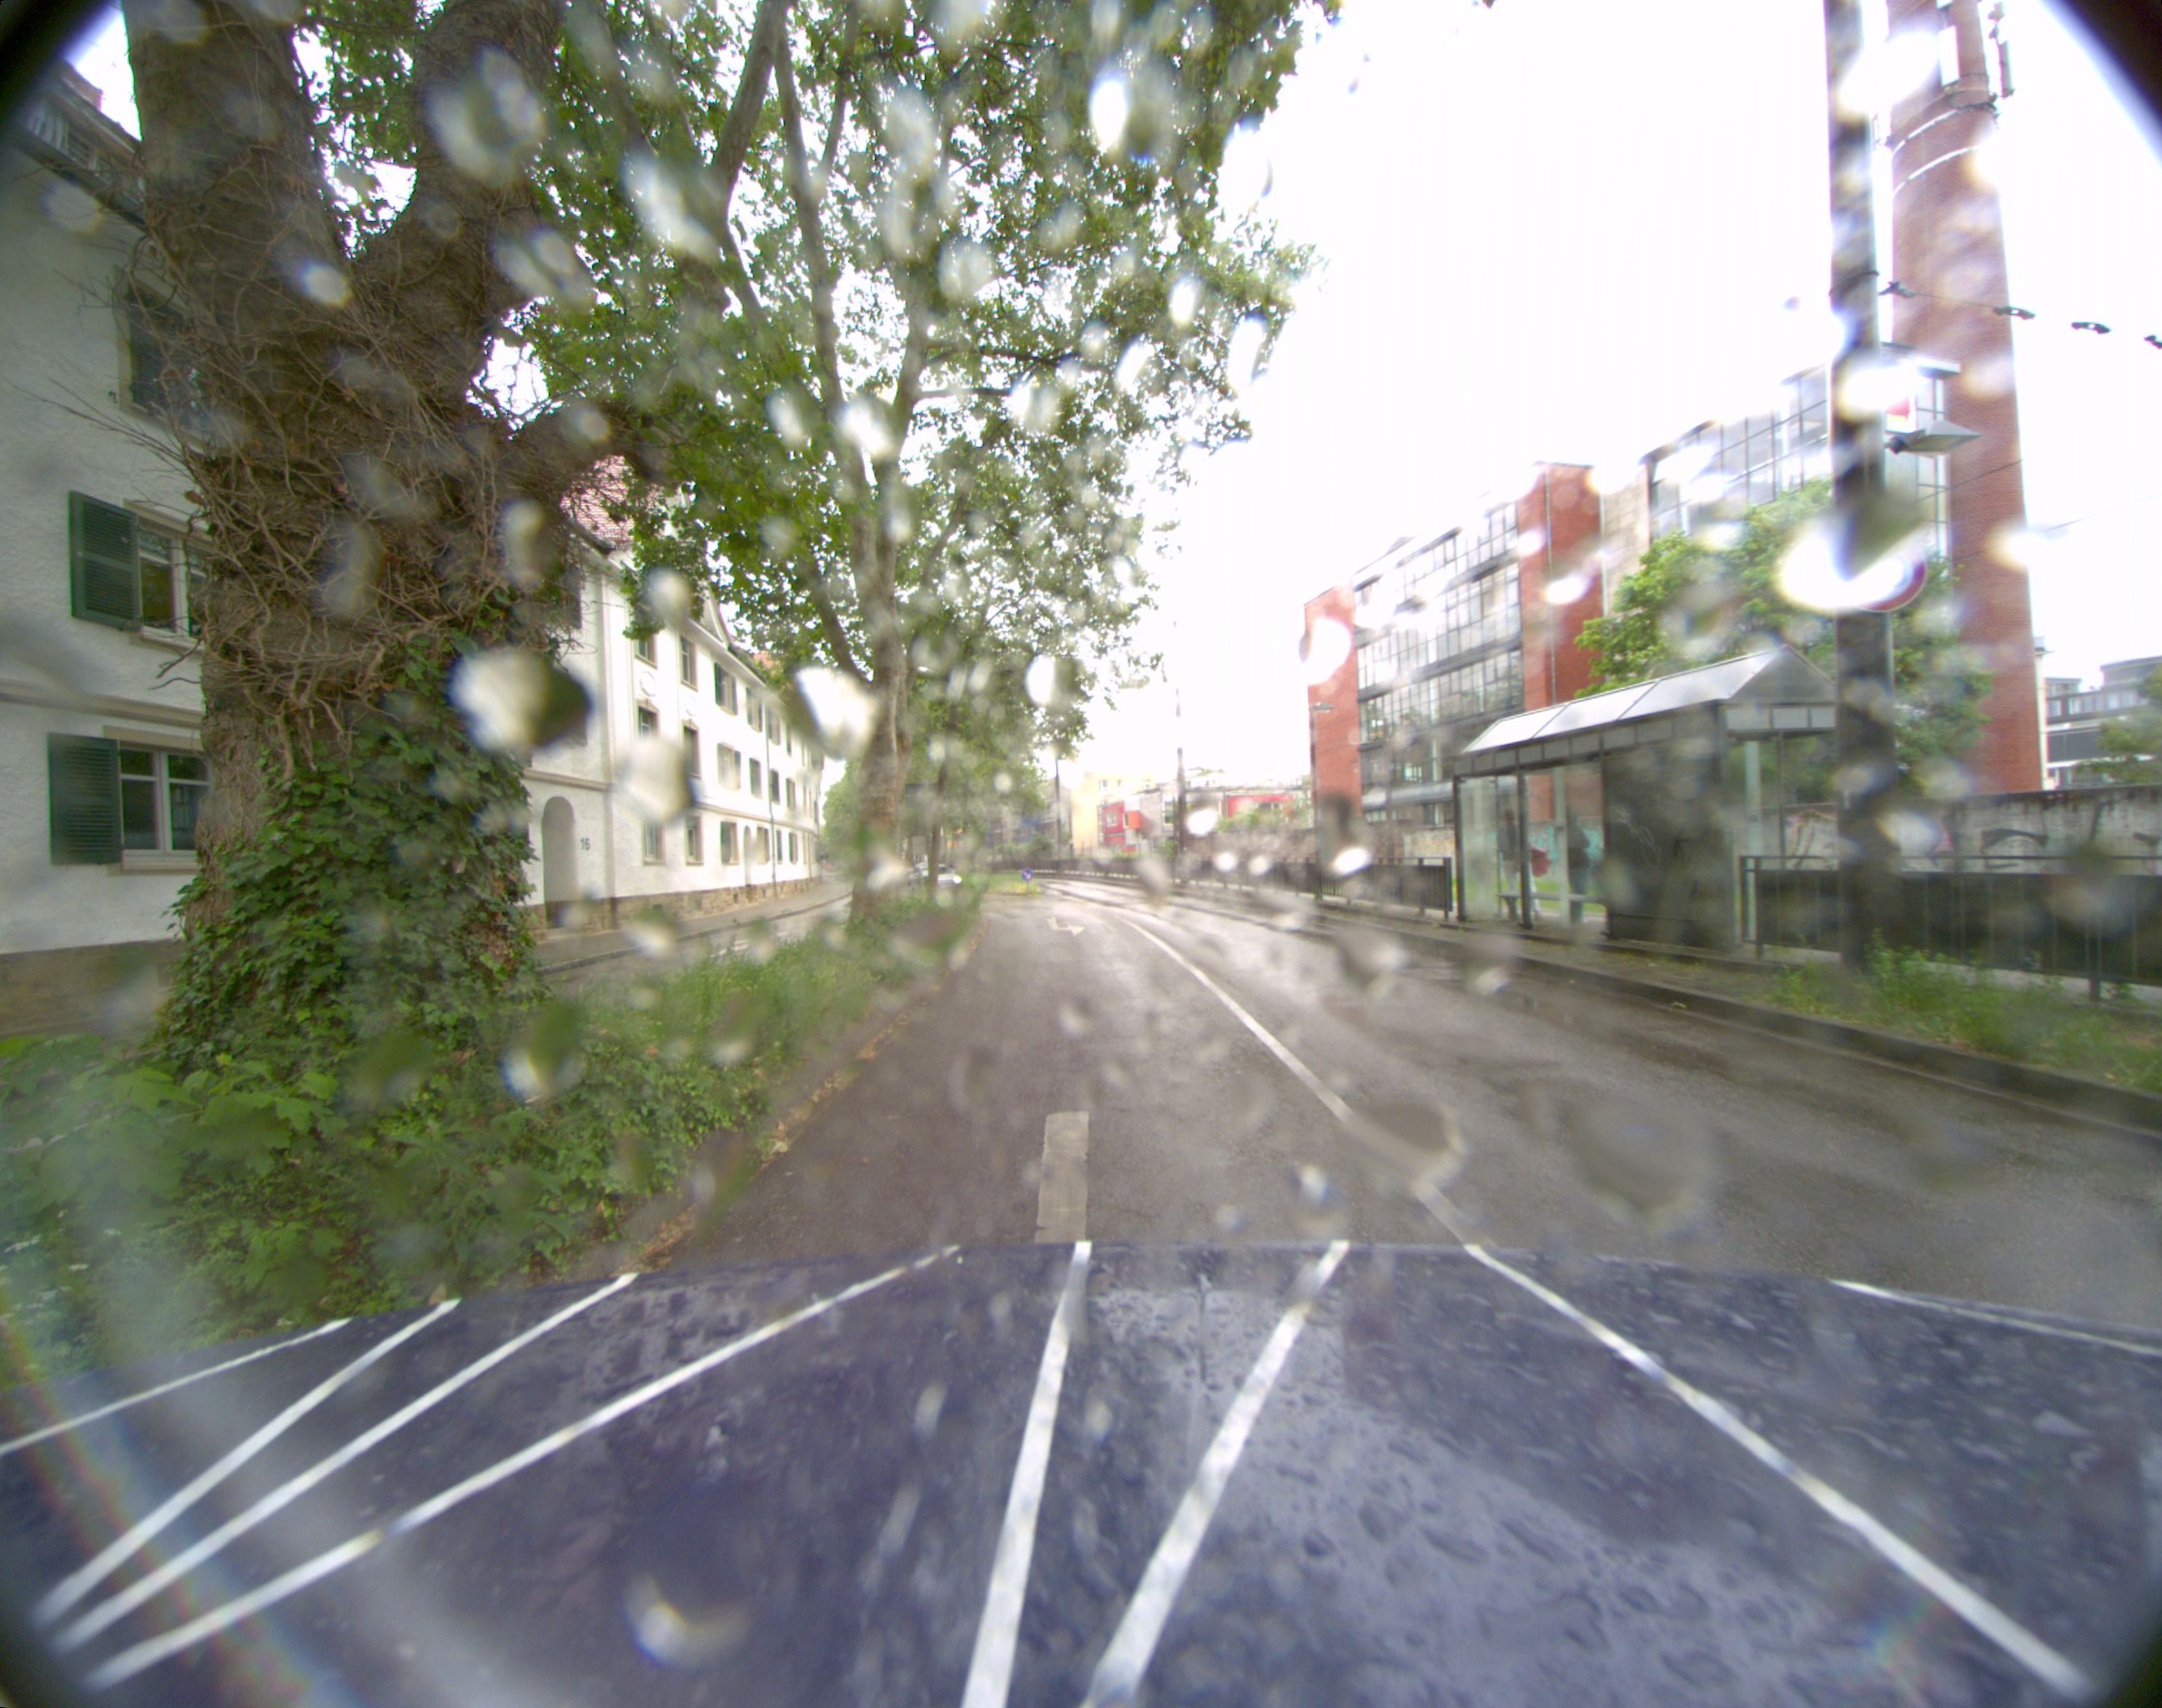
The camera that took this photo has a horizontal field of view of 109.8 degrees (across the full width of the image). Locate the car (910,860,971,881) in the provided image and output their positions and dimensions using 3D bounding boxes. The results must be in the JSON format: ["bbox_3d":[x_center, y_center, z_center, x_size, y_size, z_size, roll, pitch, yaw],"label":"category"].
[{"bbox_3d":[-10.987,1.265,59.473,4.224,1.532,1.932,-1,0,11],"label":"car"}]

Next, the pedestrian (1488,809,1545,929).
[{"bbox_3d":[6.494,0.211,11.331,0.584,1.721,0.566,-1,1,-41],"label":"pedestrian"}]

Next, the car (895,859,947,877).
[{"bbox_3d":[-14.745,1.320,70.247,4.328,1.603,1.749,-1,0,6],"label":"car"}]

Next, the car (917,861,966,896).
[{"bbox_3d":[-7.110,1.177,38.453,1.853,1.586,4.210,-2,0,-17],"label":"car"}]

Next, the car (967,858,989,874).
[{"bbox_3d":[-11.842,1.341,87.121,1.694,1.713,3.685,-1,0,-20],"label":"car"}]

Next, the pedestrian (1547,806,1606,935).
[{"bbox_3d":[6.904,0.223,10.582,0.584,1.721,0.566,-1,1,-43],"label":"pedestrian"}]

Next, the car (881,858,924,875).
[{"bbox_3d":[-22.226,1.569,94.696,4.884,2.002,2.002,-1,0,11],"label":"car"}]
